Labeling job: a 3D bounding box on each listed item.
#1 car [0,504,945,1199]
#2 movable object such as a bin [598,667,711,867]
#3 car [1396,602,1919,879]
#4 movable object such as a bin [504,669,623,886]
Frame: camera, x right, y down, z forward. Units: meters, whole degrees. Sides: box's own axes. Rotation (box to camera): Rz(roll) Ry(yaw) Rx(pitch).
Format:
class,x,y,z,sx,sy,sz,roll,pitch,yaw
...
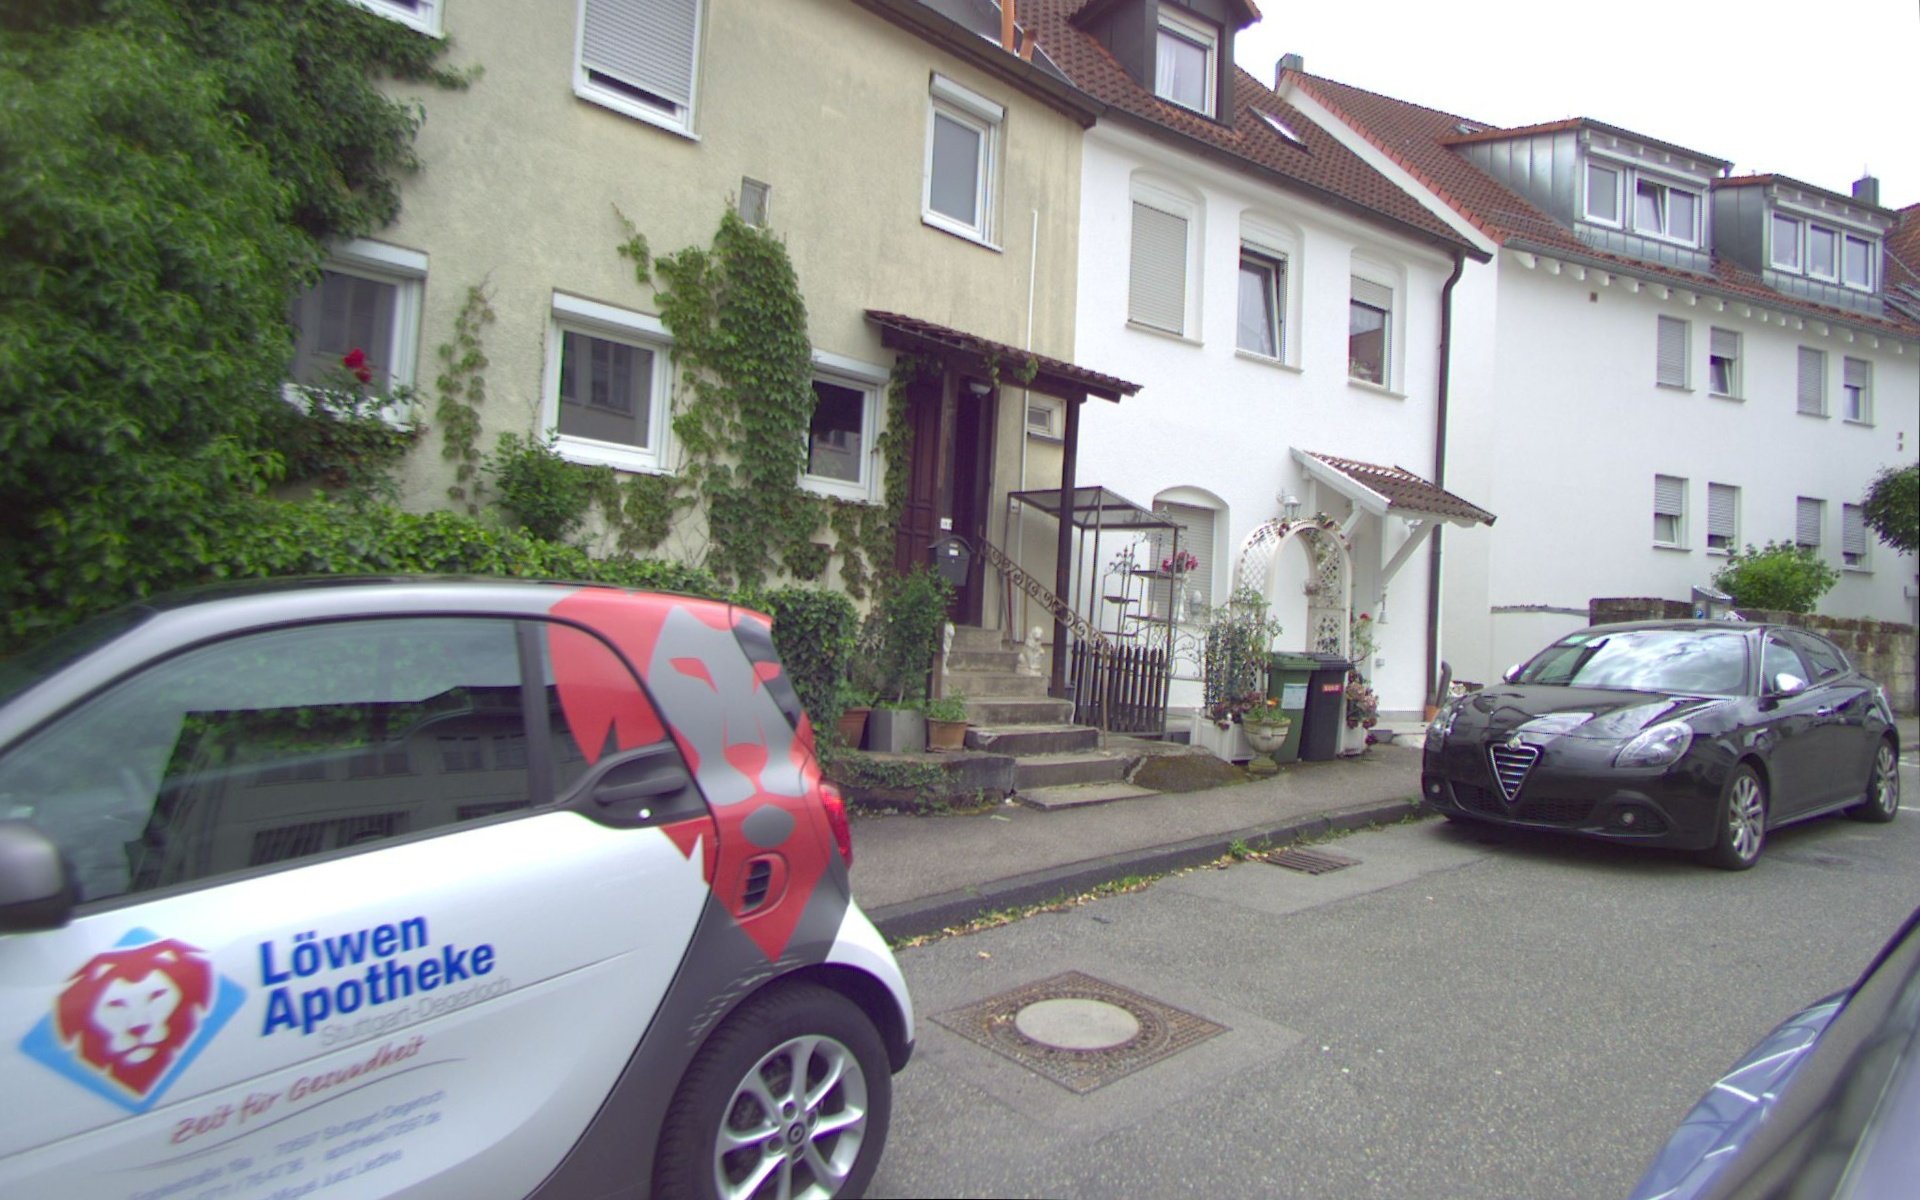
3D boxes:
class,x,y,z,sx,sy,sz,roll,pitch,yaw
car,-1.636,0.674,2.125,2.848,1.552,1.612,0,-2,-43
movable object such as a bin,-1.600,0.844,5.281,0.437,0.909,0.439,-1,4,-37
car,4.983,0.772,7.049,3.925,1.425,1.724,1,-2,-34
movable object such as a bin,-1.939,0.836,4.943,0.437,0.924,0.439,-1,4,-37
